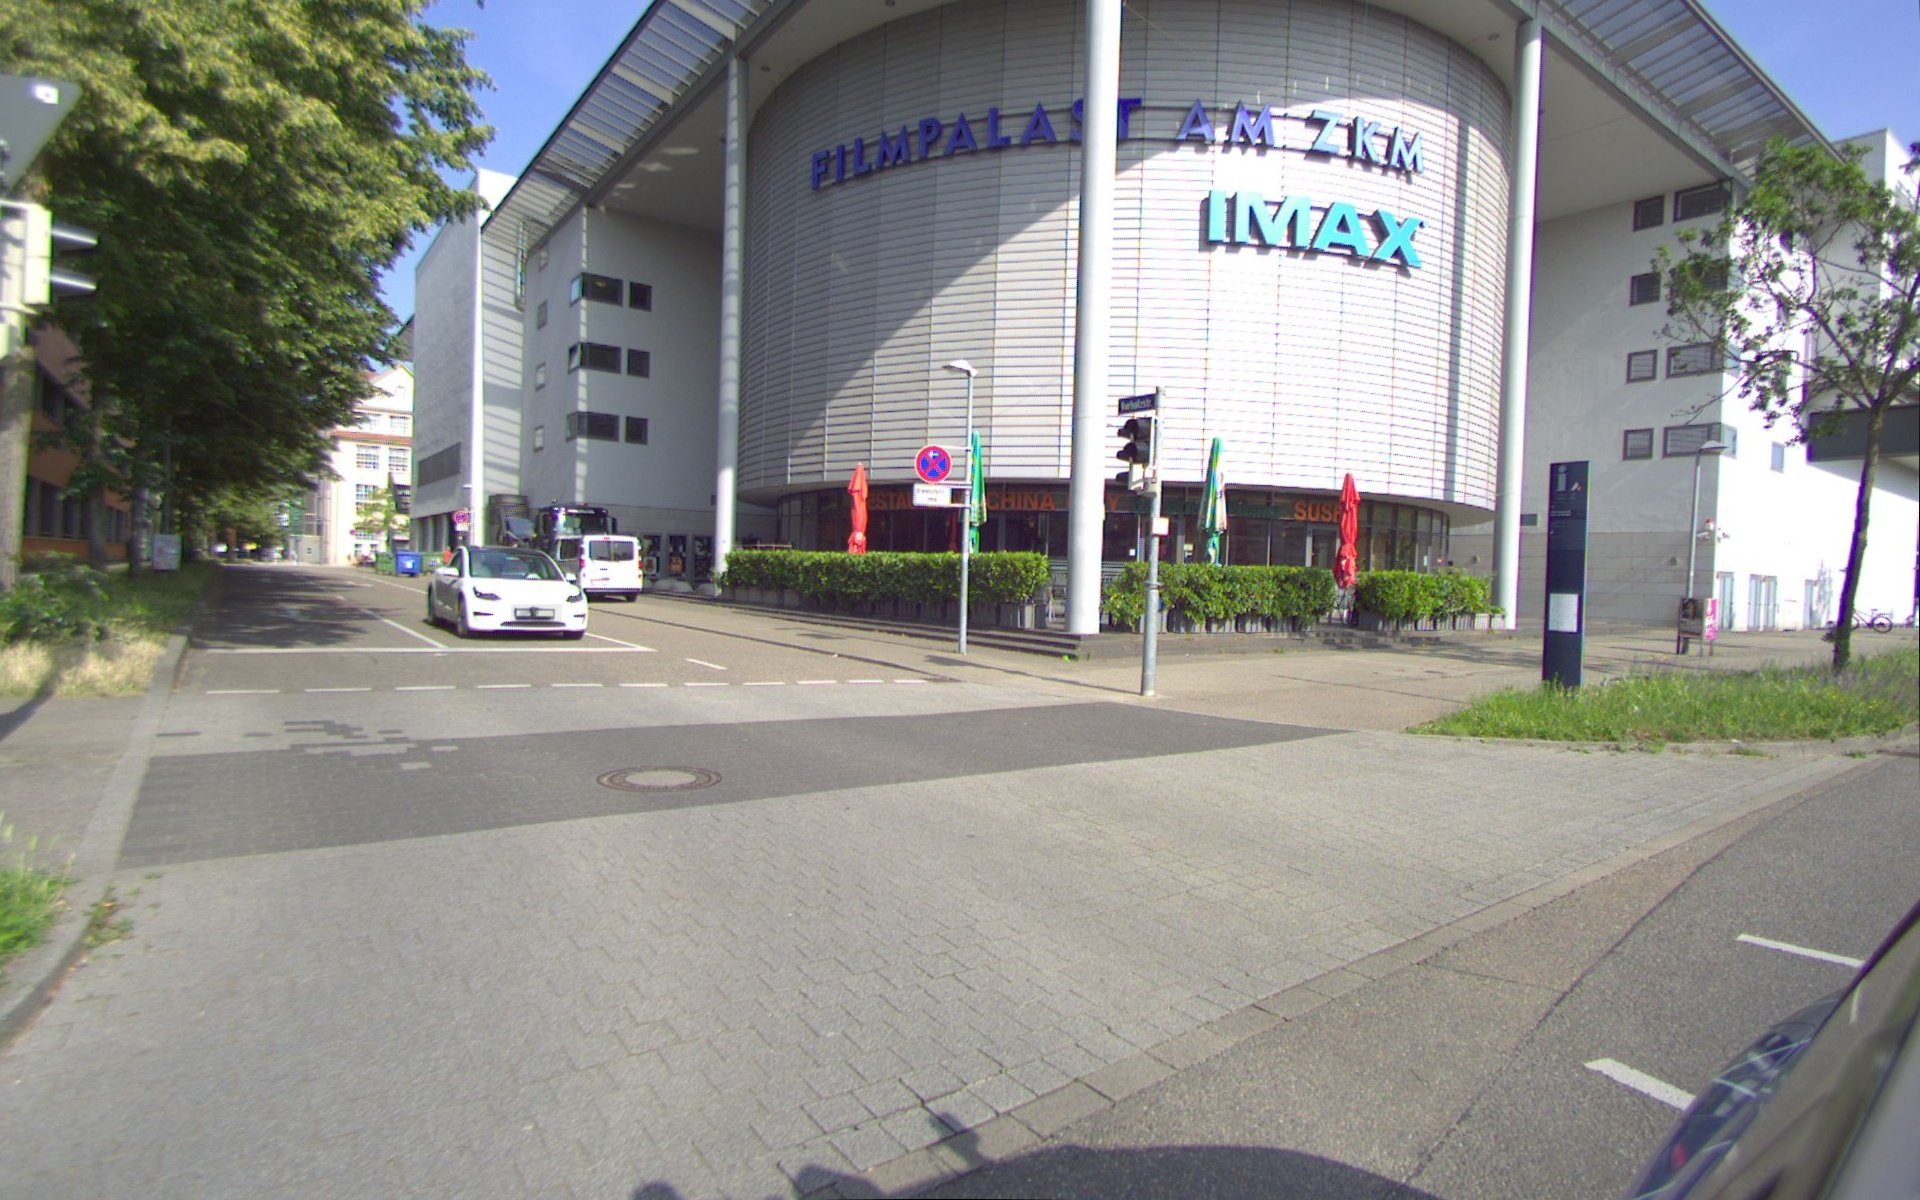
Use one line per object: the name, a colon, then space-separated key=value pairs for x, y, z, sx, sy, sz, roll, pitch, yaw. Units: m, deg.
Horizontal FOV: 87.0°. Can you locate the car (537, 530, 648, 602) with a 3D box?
car: x=-11.428 y=-1.068 z=31.224 sx=2.030 sy=2.038 sz=4.899 roll=1 pitch=2 yaw=-34

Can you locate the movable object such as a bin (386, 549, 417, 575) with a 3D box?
movable object such as a bin: x=-28.788 y=-1.984 z=52.157 sx=1.183 sy=1.265 sz=2.214 roll=1 pitch=2 yaw=-34

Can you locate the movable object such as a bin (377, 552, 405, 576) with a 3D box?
movable object such as a bin: x=-32.387 y=-2.036 z=57.572 sx=1.183 sy=1.265 sz=2.214 roll=1 pitch=2 yaw=-34

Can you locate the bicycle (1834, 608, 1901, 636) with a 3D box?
bicycle: x=38.666 y=0.930 z=43.151 sx=0.662 sy=1.116 sz=2.017 roll=1 pitch=1 yaw=-31

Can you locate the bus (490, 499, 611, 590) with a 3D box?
bus: x=-16.214 y=-2.139 z=39.749 sx=2.441 sy=3.187 sz=7.845 roll=1 pitch=2 yaw=-37

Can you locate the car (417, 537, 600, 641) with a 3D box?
car: x=-7.610 y=-0.239 z=16.804 sx=1.865 sy=1.483 sz=4.335 roll=2 pitch=1 yaw=-36
